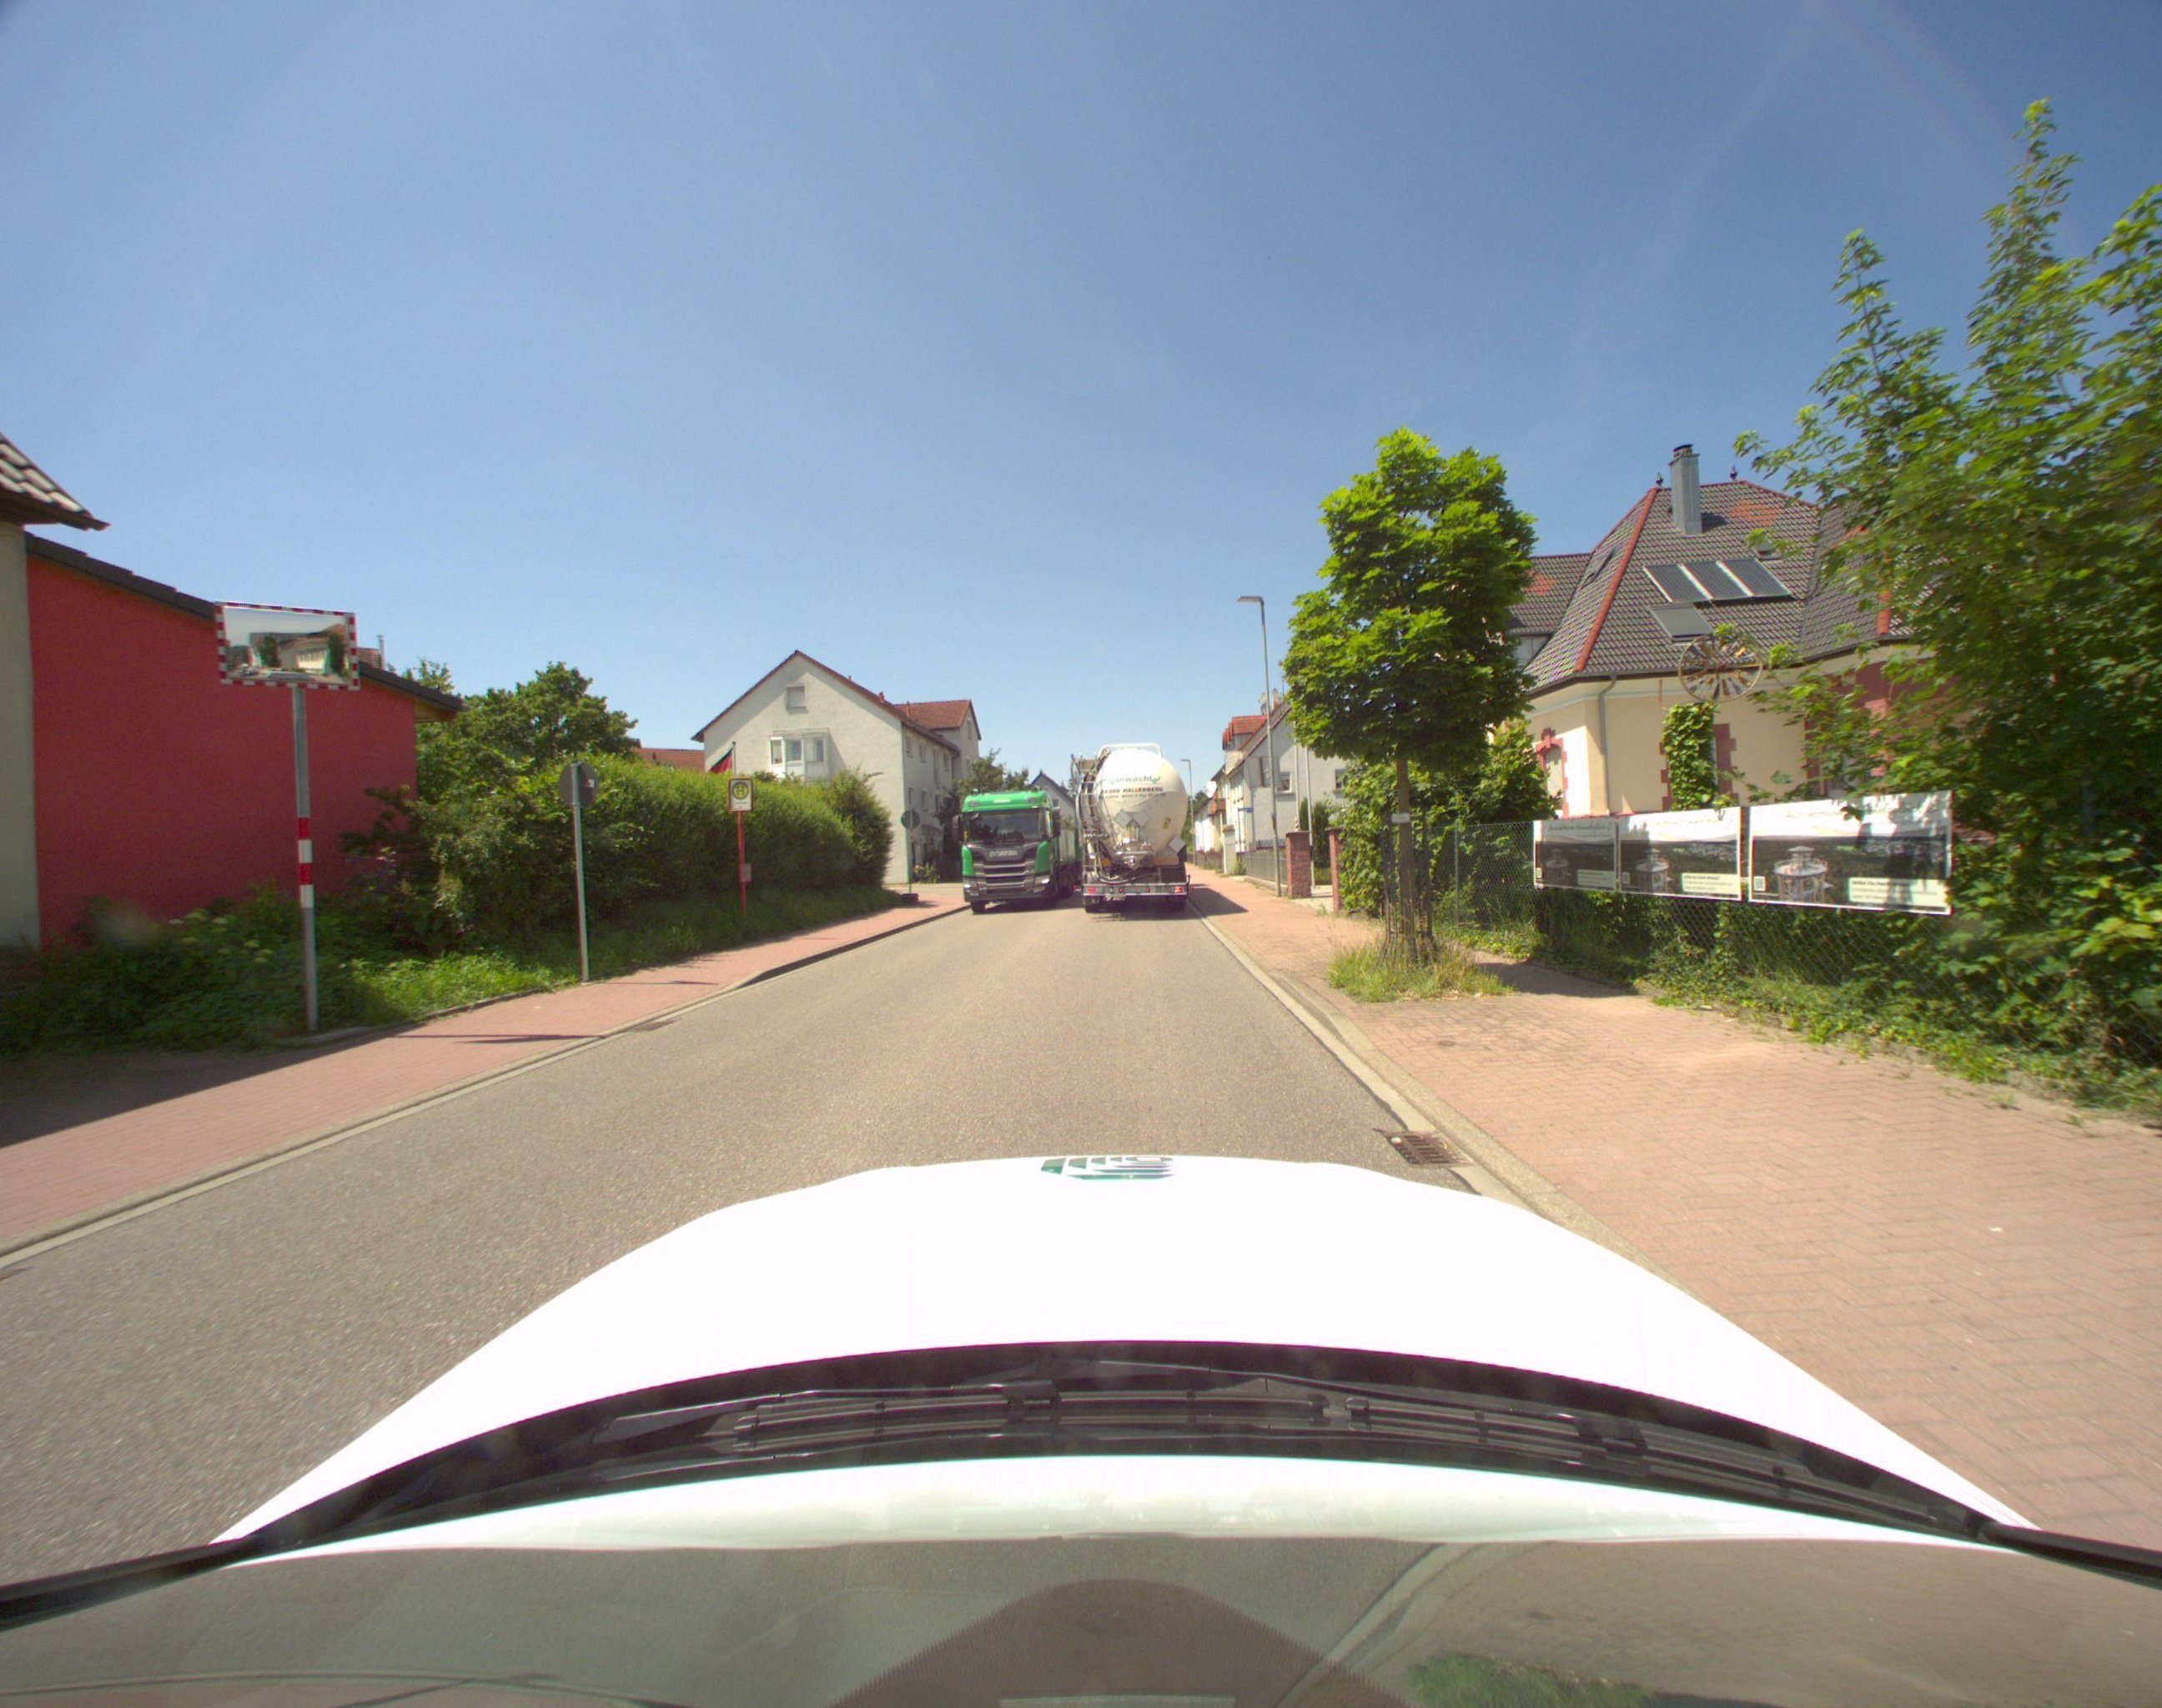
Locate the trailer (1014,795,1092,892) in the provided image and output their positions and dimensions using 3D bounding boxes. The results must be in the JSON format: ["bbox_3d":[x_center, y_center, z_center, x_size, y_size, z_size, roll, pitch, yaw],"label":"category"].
[{"bbox_3d":[-1.039,-0.413,35.912,2.519,3.648,8.468,-3,0,3],"label":"trailer"}]

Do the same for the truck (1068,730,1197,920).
[{"bbox_3d":[1.389,-0.643,22.368,2.630,4.015,9.570,-2,0,3],"label":"truck"}]

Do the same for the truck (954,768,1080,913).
[{"bbox_3d":[-1.717,-0.375,26.621,2.556,3.700,10.087,-4,0,3],"label":"truck"}]
